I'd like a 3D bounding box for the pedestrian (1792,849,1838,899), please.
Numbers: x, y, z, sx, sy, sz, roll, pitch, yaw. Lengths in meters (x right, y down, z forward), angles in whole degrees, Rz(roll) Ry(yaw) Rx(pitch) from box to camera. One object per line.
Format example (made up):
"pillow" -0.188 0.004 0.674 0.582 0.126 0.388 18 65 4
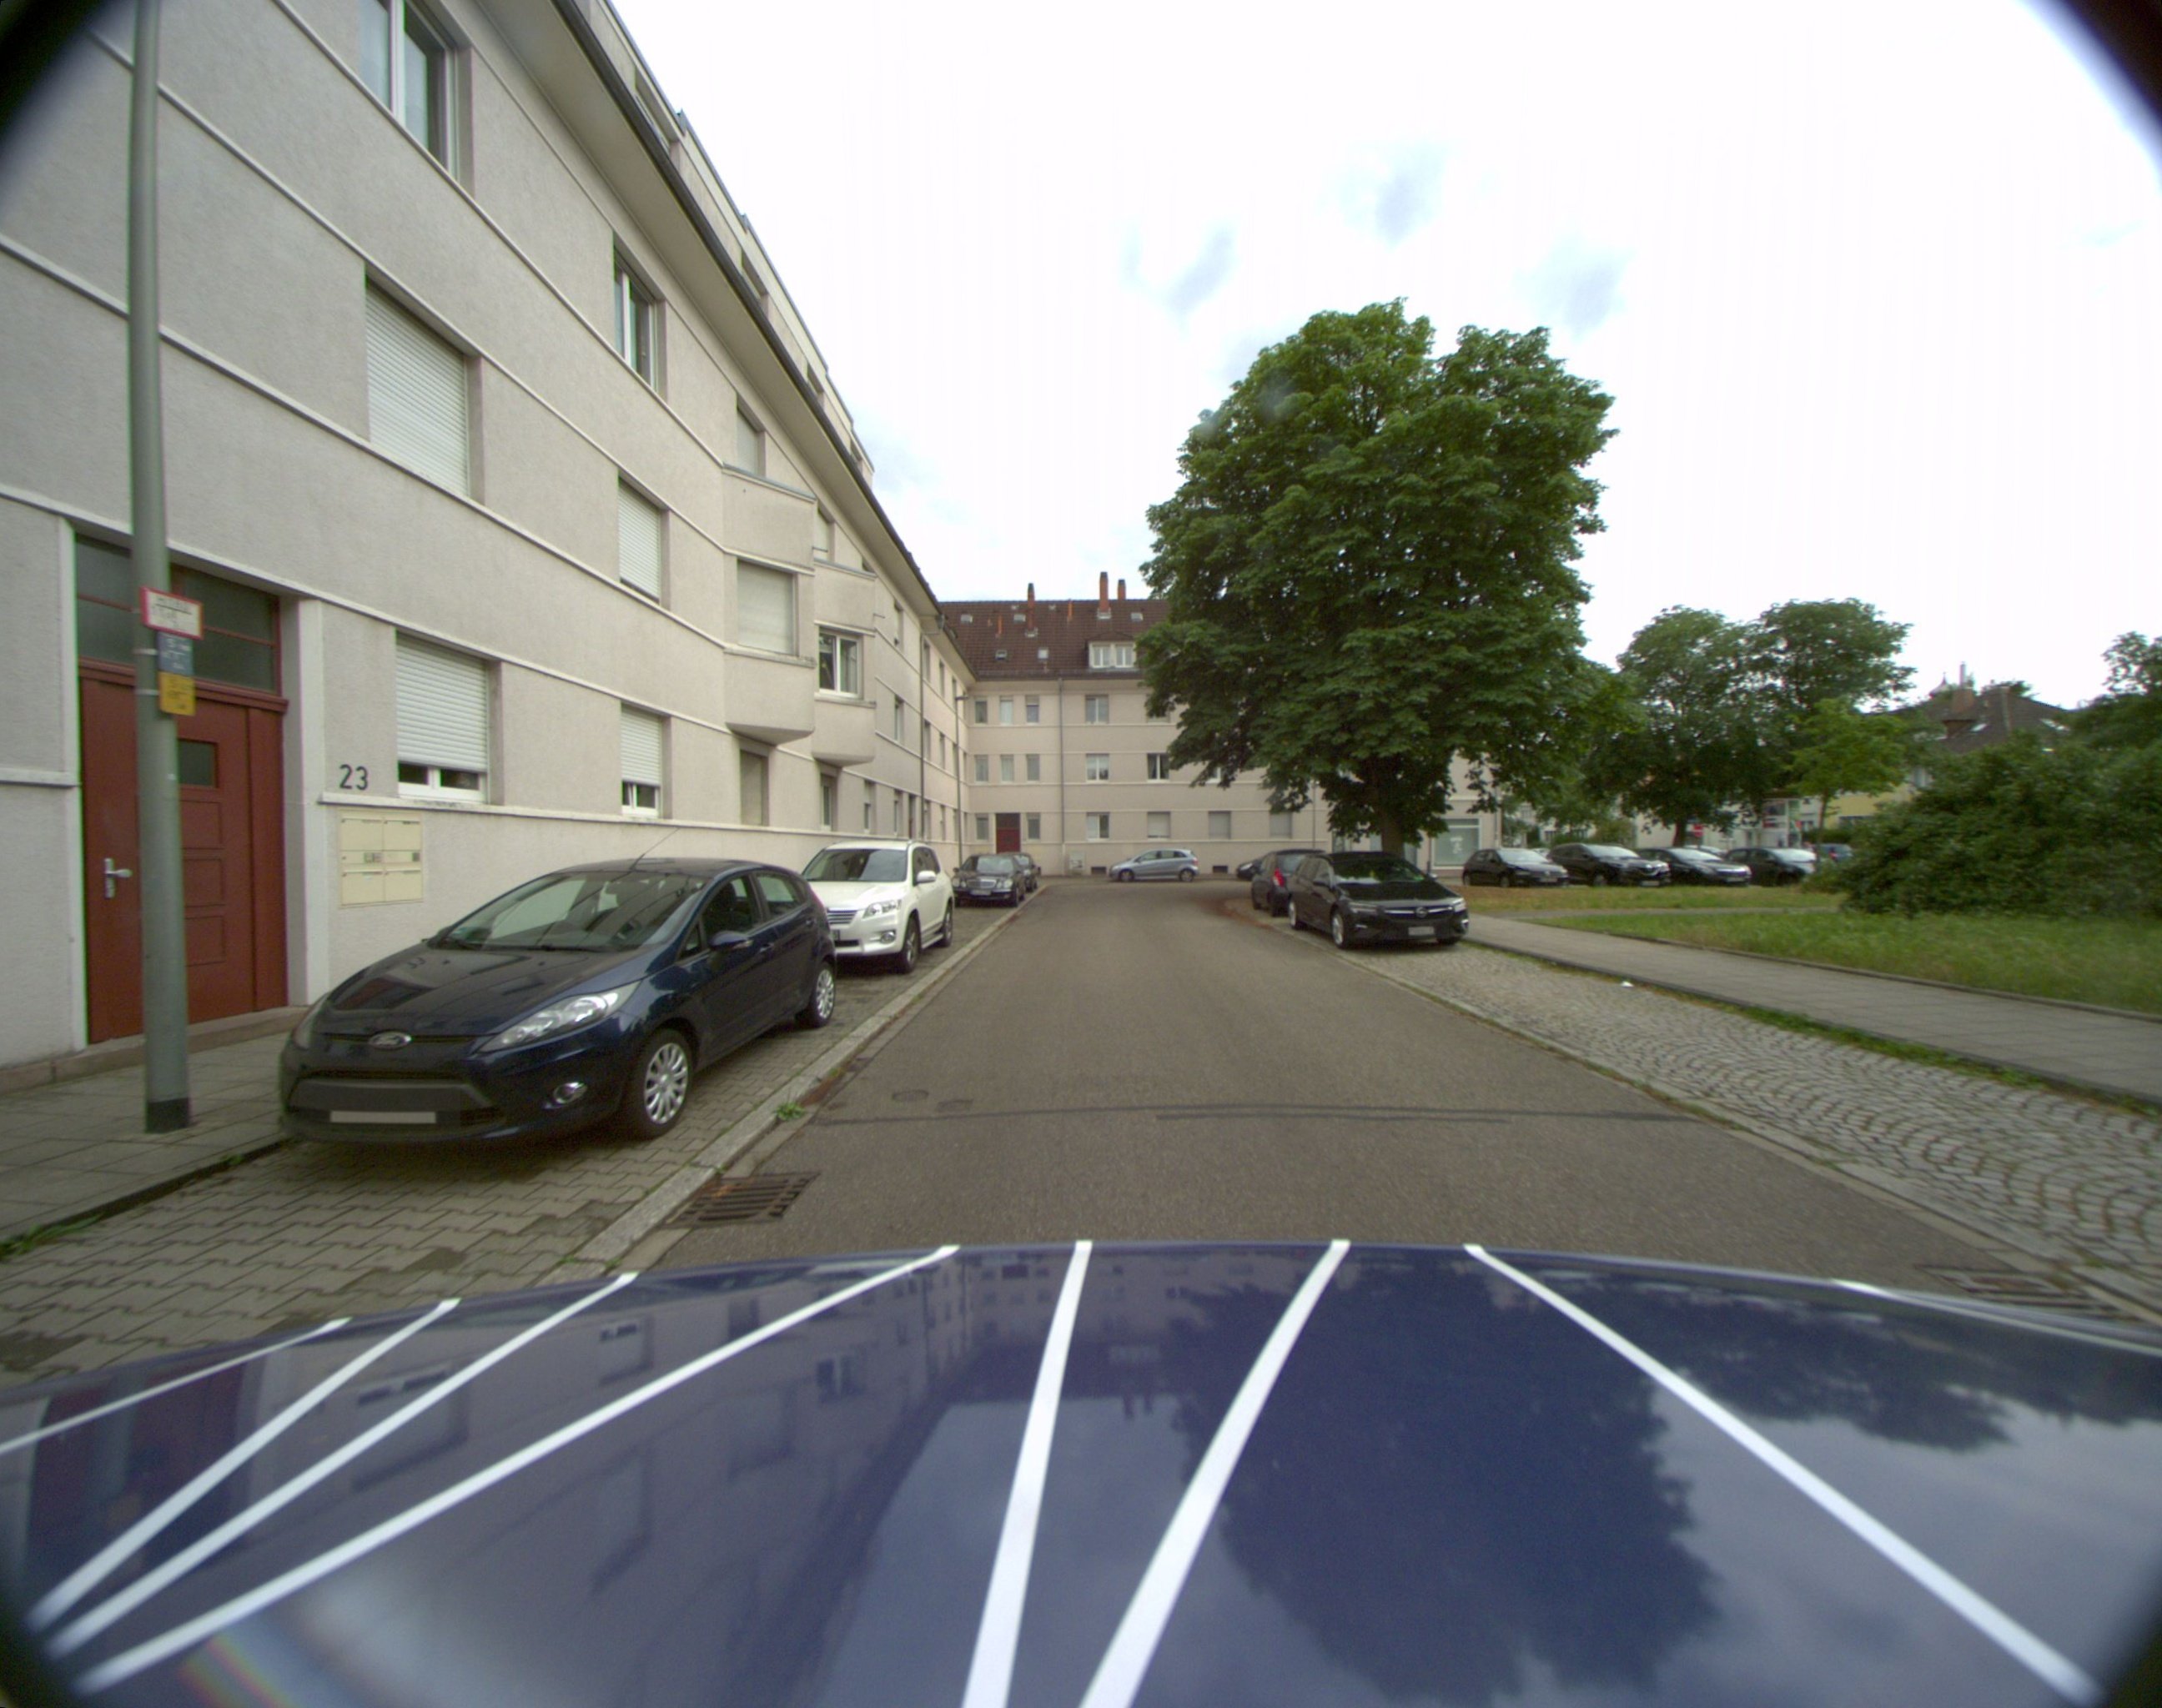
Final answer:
"pedestrian" 27.447 0.733 28.415 1.221 1.825 0.877 -1 1 -25

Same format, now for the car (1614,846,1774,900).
"car" 19.401 0.568 24.338 1.839 1.556 4.359 -1 0 5

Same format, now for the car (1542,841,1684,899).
"car" 16.853 0.483 24.366 1.914 1.687 4.070 -1 0 5

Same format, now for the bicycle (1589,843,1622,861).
"bicycle" 32.004 -0.131 46.425 0.667 1.060 1.884 -1 1 -2

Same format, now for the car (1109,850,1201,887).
"car" 3.490 0.660 35.982 4.195 1.618 1.763 -1 1 3

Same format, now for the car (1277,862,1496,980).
"car" 4.907 0.969 13.064 1.872 1.456 4.834 -3 0 2

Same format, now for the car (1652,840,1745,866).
"car" 40.537 -0.090 50.077 1.902 1.557 4.881 -1 1 -4

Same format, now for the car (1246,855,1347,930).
"car" 5.043 0.842 18.181 1.528 1.485 3.592 -3 0 4

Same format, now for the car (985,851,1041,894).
"car" -2.509 0.632 28.819 1.761 1.516 4.078 0 0 0

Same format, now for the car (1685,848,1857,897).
"car" 22.878 0.577 25.484 1.839 1.455 4.562 -1 0 5

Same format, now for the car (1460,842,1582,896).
"car" 13.788 0.422 24.081 1.829 1.568 3.843 0 1 3

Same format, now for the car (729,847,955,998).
"car" -2.990 0.749 10.539 1.847 1.664 4.288 0 0 -1

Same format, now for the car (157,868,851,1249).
"car" -2.979 0.884 5.079 1.571 1.470 3.871 0 1 2

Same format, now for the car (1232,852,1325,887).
"car" 9.309 0.713 35.953 3.933 1.481 1.762 -1 1 1

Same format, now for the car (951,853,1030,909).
"car" -2.498 0.696 22.048 1.749 1.412 4.949 0 0 0
